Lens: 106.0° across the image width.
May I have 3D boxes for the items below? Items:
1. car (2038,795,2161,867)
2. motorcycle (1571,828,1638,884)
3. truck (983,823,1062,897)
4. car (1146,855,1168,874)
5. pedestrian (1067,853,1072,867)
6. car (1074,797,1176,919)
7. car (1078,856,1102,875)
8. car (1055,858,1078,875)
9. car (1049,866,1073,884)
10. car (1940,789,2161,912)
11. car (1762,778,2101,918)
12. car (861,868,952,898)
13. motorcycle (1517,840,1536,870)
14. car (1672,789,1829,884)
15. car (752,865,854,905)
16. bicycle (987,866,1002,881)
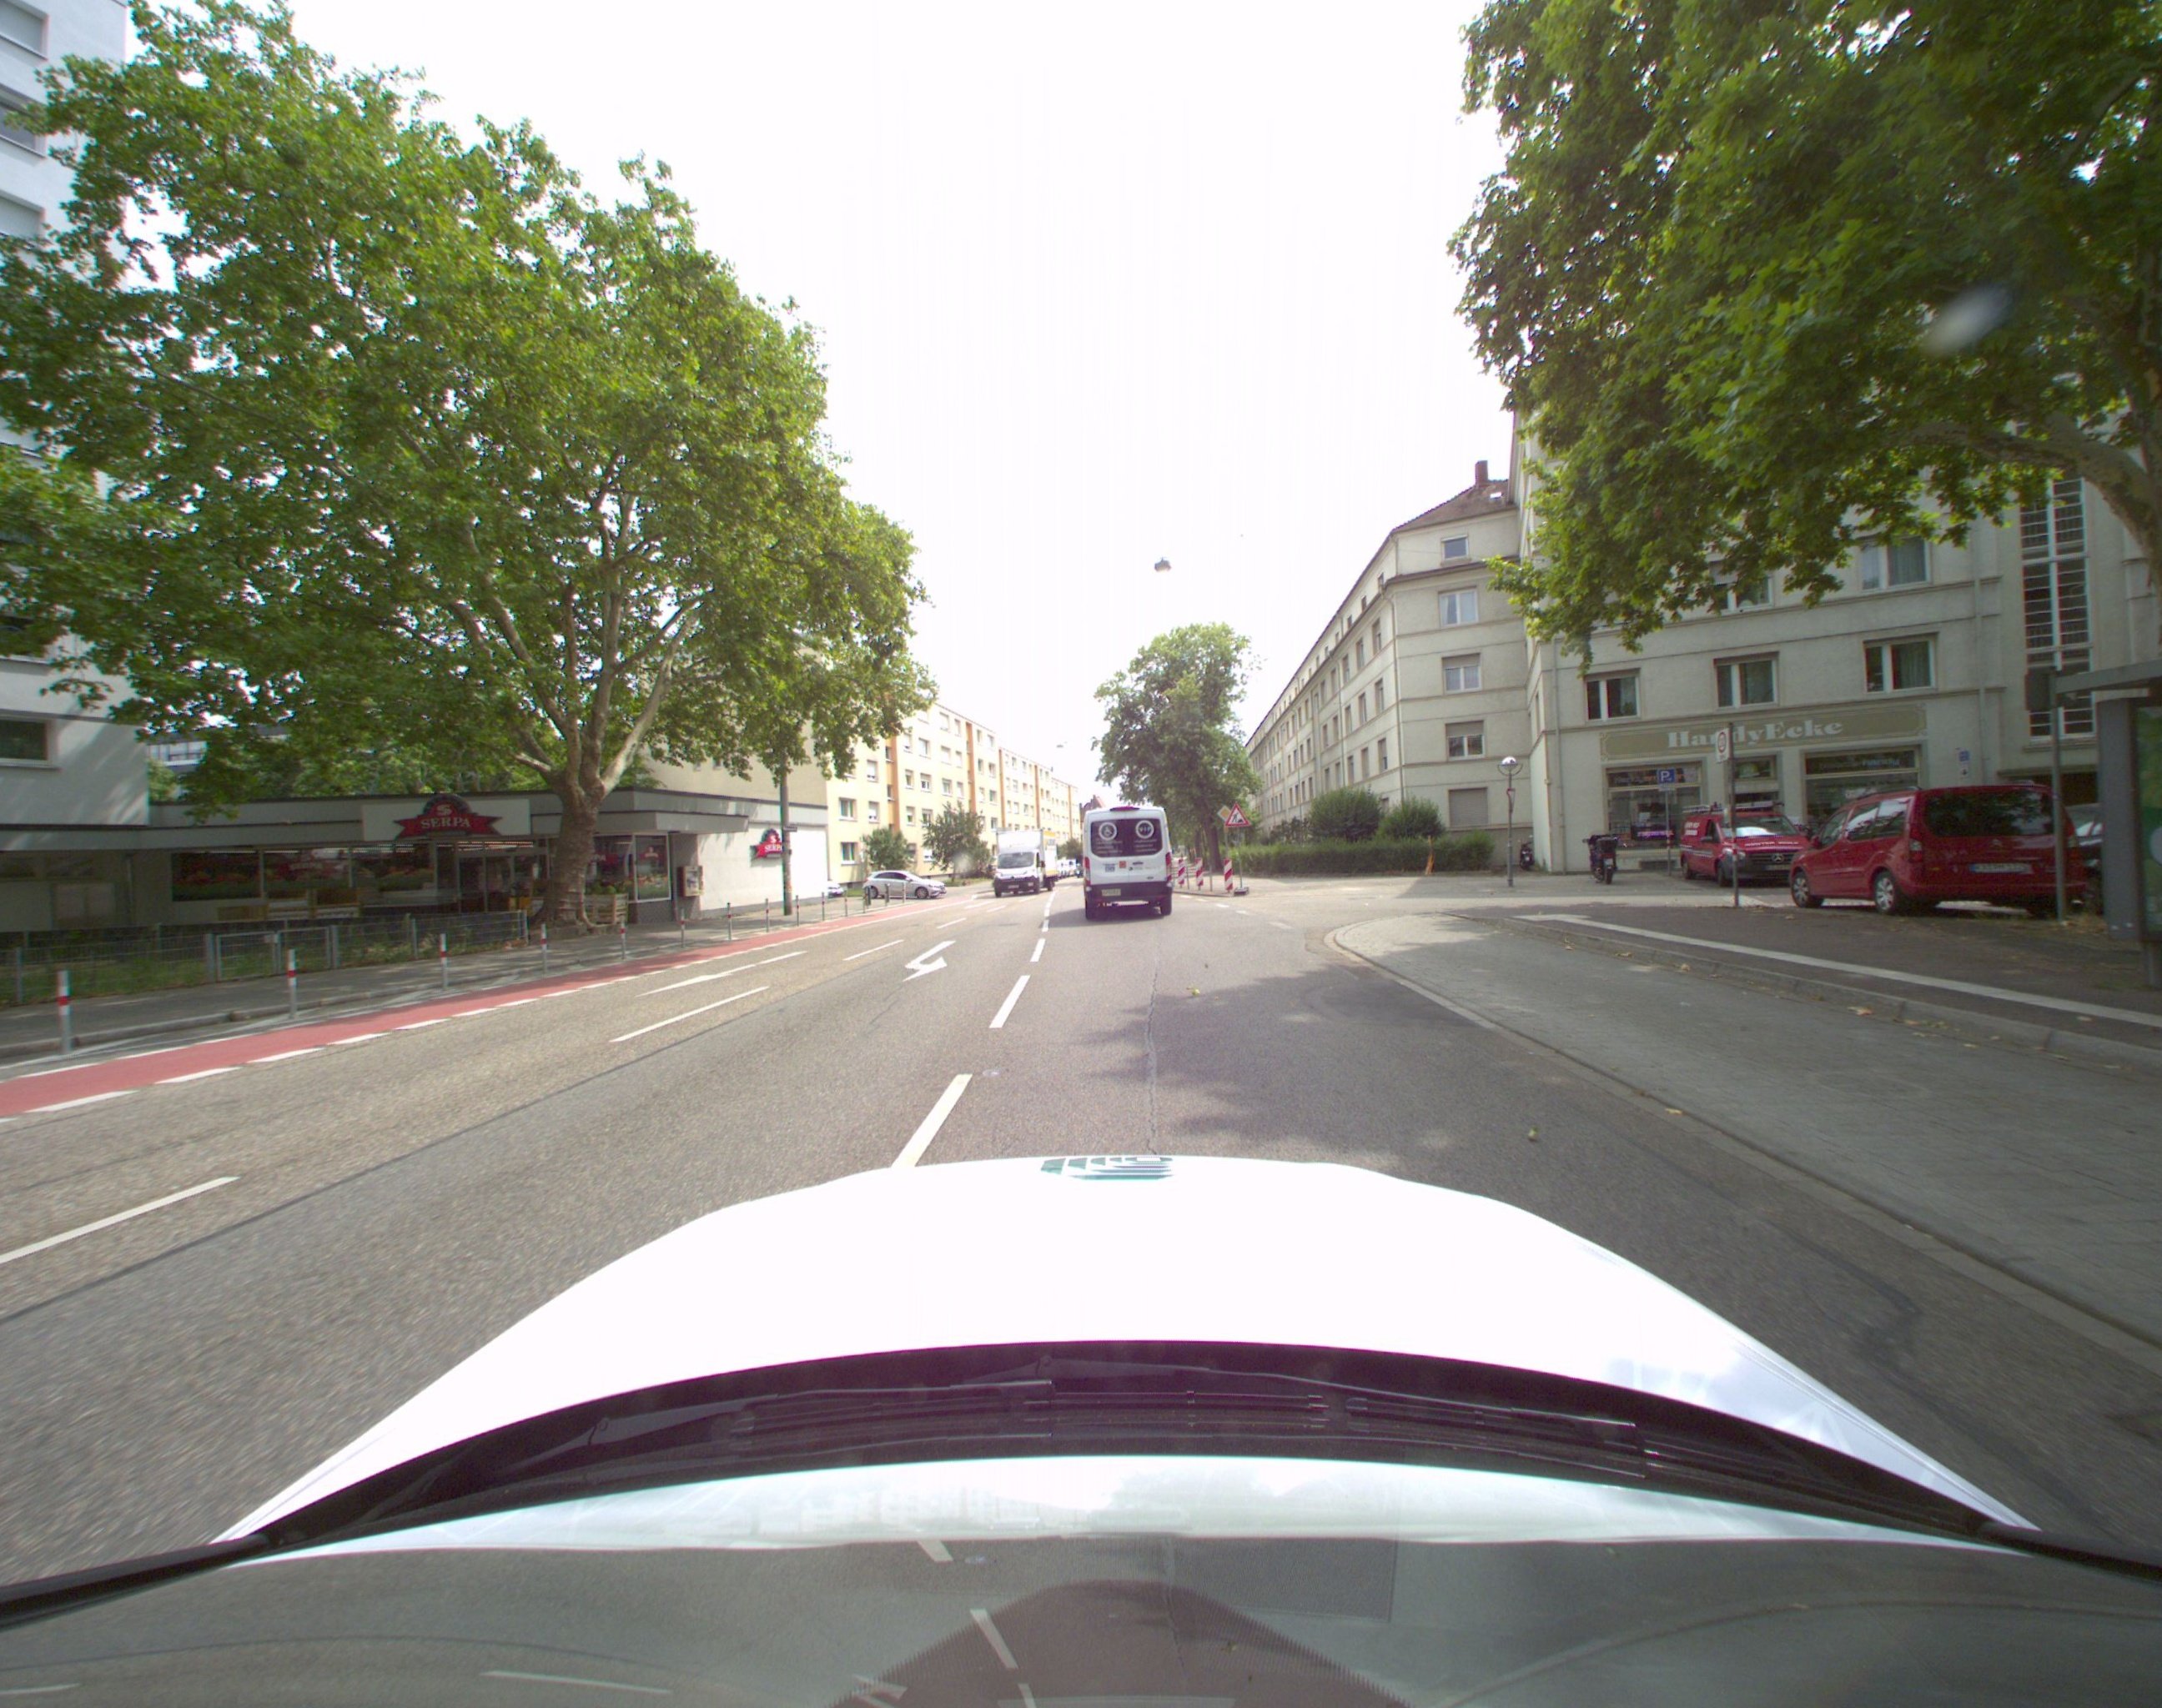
[{"bbox_3d":[24.172,-0.553,18.202,1.975,1.487,4.219,-3,0,25],"label":"car"},{"bbox_3d":[14.682,0.016,22.917,0.826,1.461,2.315,-3,1,14],"label":"motorcycle"},{"bbox_3d":[-2.715,0.273,40.214,2.529,3.107,7.031,-5,0,5],"label":"truck"},{"bbox_3d":[6.248,0.845,66.903,1.689,1.450,4.107,-2,0,5],"label":"car"},{"bbox_3d":[-1.570,0.807,111.263,0.617,1.813,0.900,-2,-1,4],"label":"pedestrian"},{"bbox_3d":[1.155,0.099,20.055,2.061,2.540,4.641,-4,-1,5],"label":"car"},{"bbox_3d":[0.794,0.985,72.775,1.689,1.518,4.006,-4,0,5],"label":"car"},{"bbox_3d":[-1.381,1.181,78.774,1.689,1.613,4.484,-1,0,6],"label":"car"},{"bbox_3d":[-1.722,1.796,71.784,1.700,1.473,3.995,-1,0,5],"label":"car"},{"bbox_3d":[15.055,-0.111,11.958,1.811,1.552,4.022,-3,0,22],"label":"car"},{"bbox_3d":[12.554,-0.076,12.494,1.915,1.706,4.354,-3,0,22],"label":"car"},{"bbox_3d":[-8.970,1.486,42.032,4.148,1.450,1.853,0,0,8],"label":"car"},{"bbox_3d":[16.609,0.029,30.363,0.428,1.016,1.457,-3,1,23],"label":"motorcycle"},{"bbox_3d":[17.459,-0.433,21.540,1.975,2.149,4.872,-3,0,25],"label":"car"},{"bbox_3d":[-14.476,1.611,42.482,4.599,1.686,1.856,-4,0,12],"label":"car"},{"bbox_3d":[-7.757,1.724,73.175,0.574,1.251,1.942,-3,1,17],"label":"bicycle"}]
